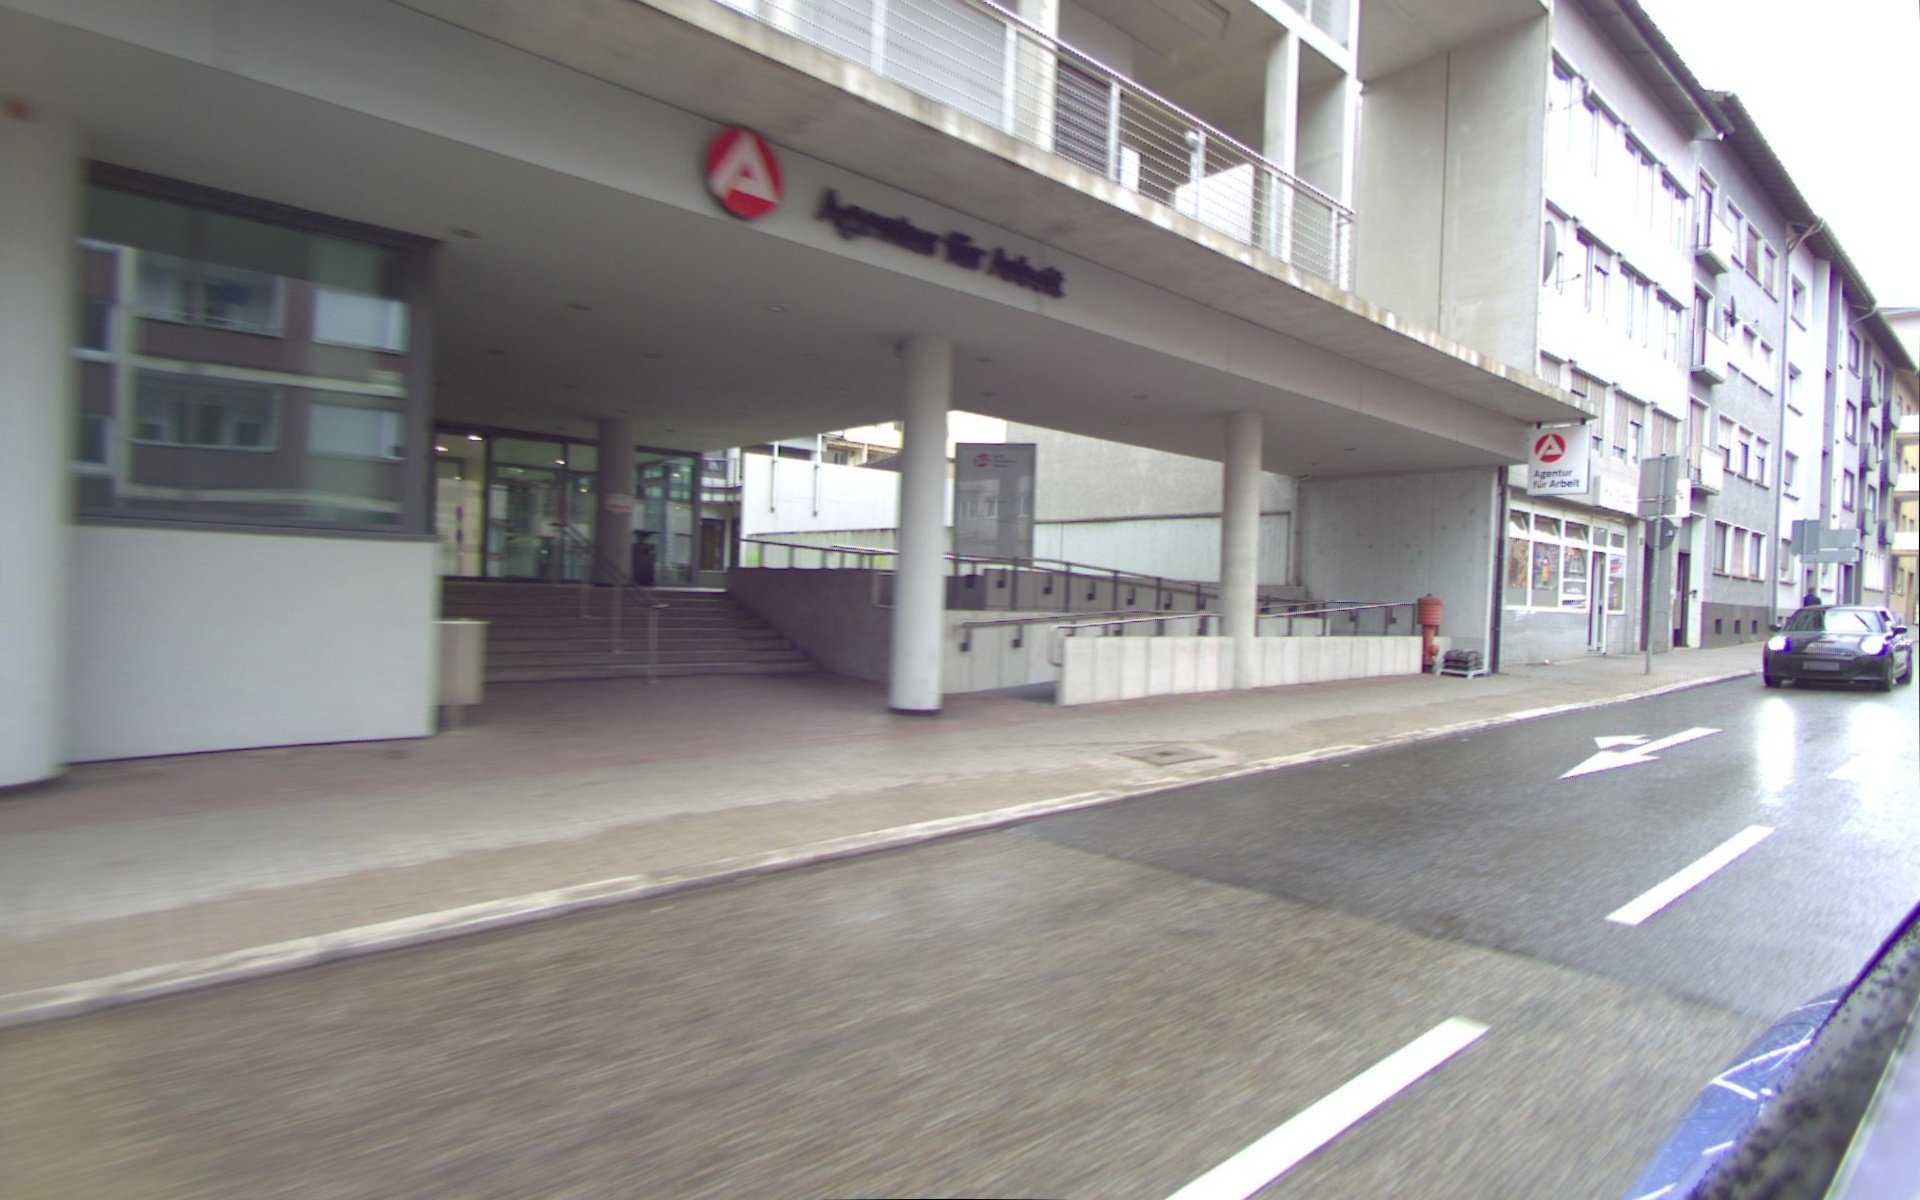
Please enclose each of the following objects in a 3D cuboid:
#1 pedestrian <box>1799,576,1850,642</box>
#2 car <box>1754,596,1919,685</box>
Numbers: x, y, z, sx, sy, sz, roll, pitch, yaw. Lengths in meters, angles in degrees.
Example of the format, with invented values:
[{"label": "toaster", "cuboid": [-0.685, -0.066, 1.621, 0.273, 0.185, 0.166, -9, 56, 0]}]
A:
[{"label": "pedestrian", "cuboid": [26.099, 0.238, 30.544, 1.100, 1.888, 0.871, -1, 5, -40]}, {"label": "car", "cuboid": [16.088, 0.664, 18.337, 4.144, 1.395, 1.854, -1, -1, -40]}]
